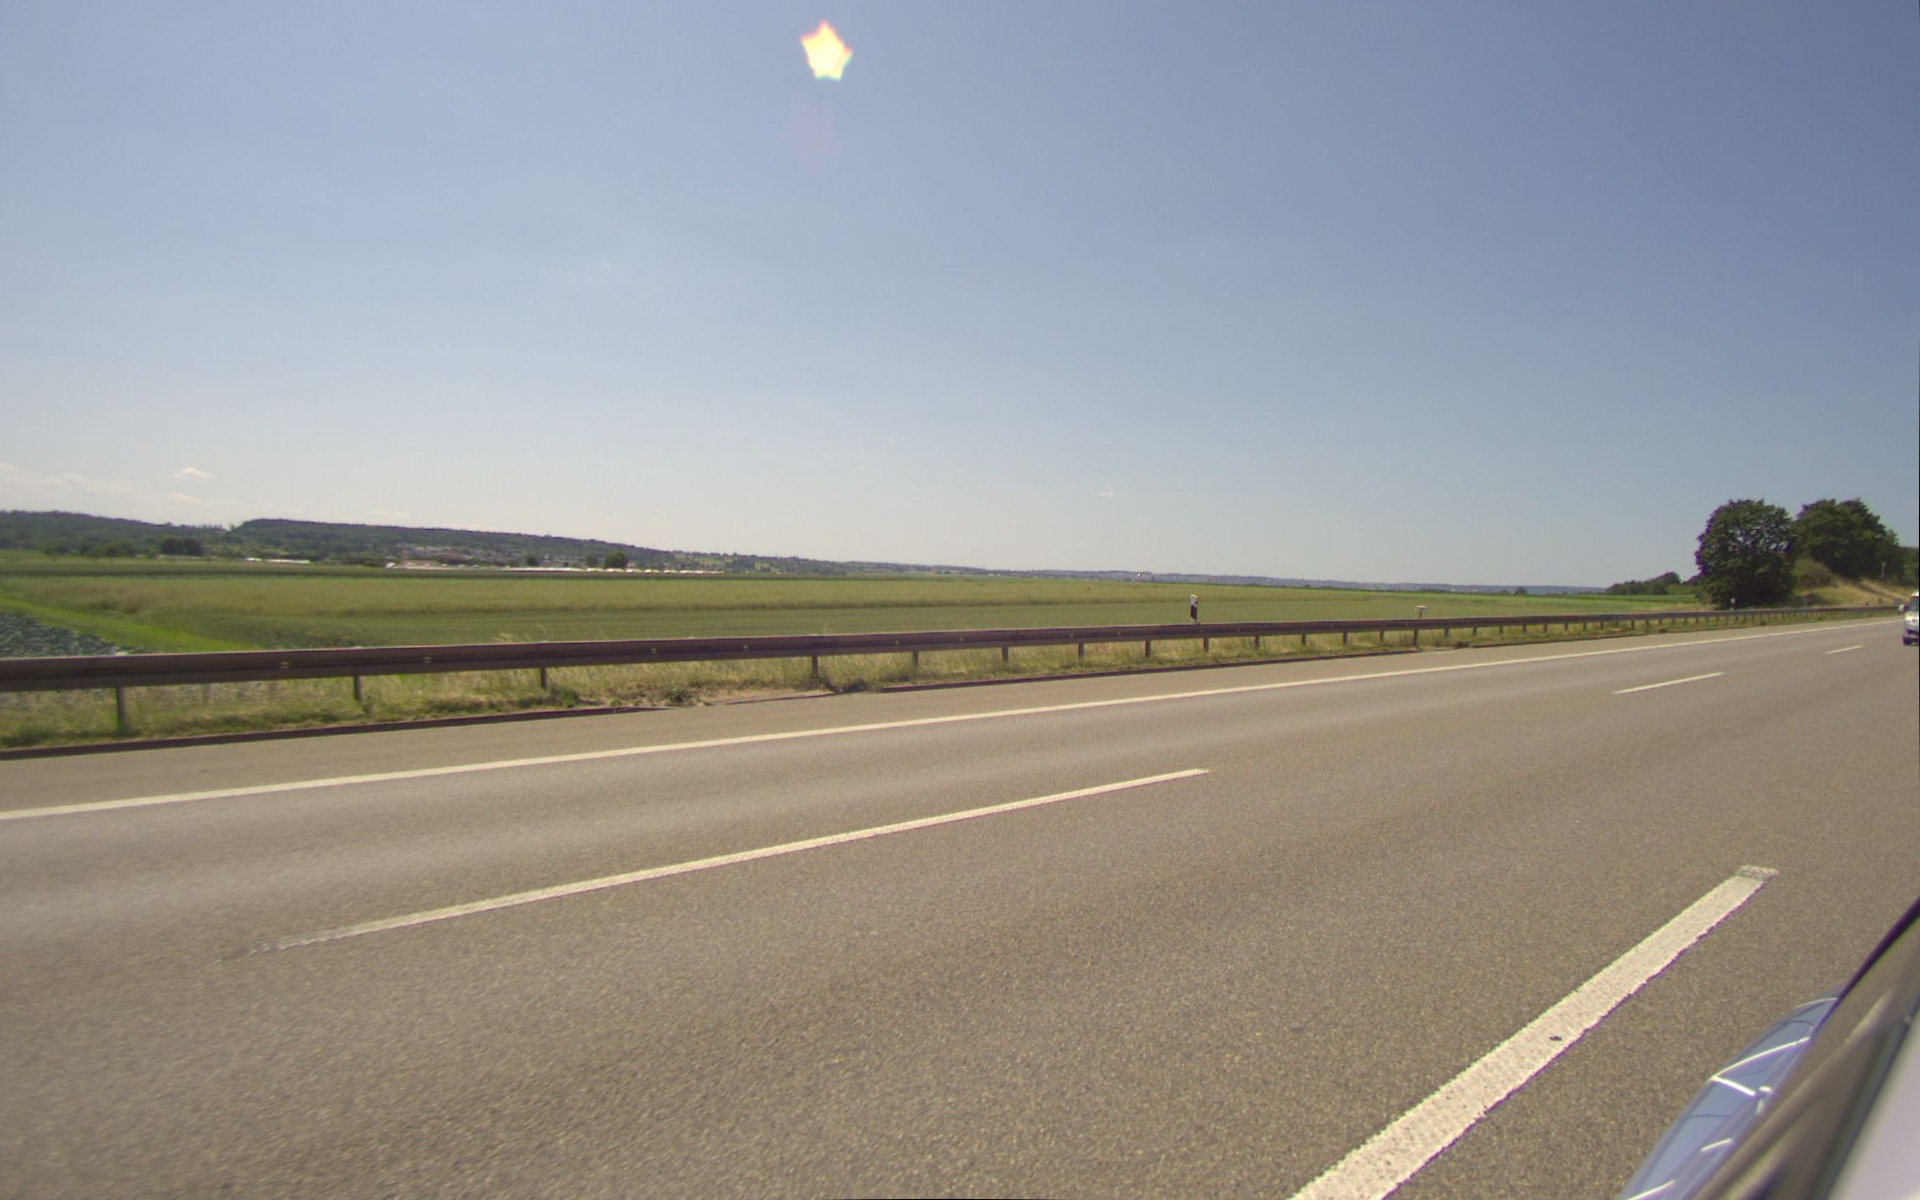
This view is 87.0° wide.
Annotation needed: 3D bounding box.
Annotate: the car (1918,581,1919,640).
[{"bbox_3d":[32.876,0.333,33.178,5.222,1.870,1.809,0,0,-43],"label":"car"}]
